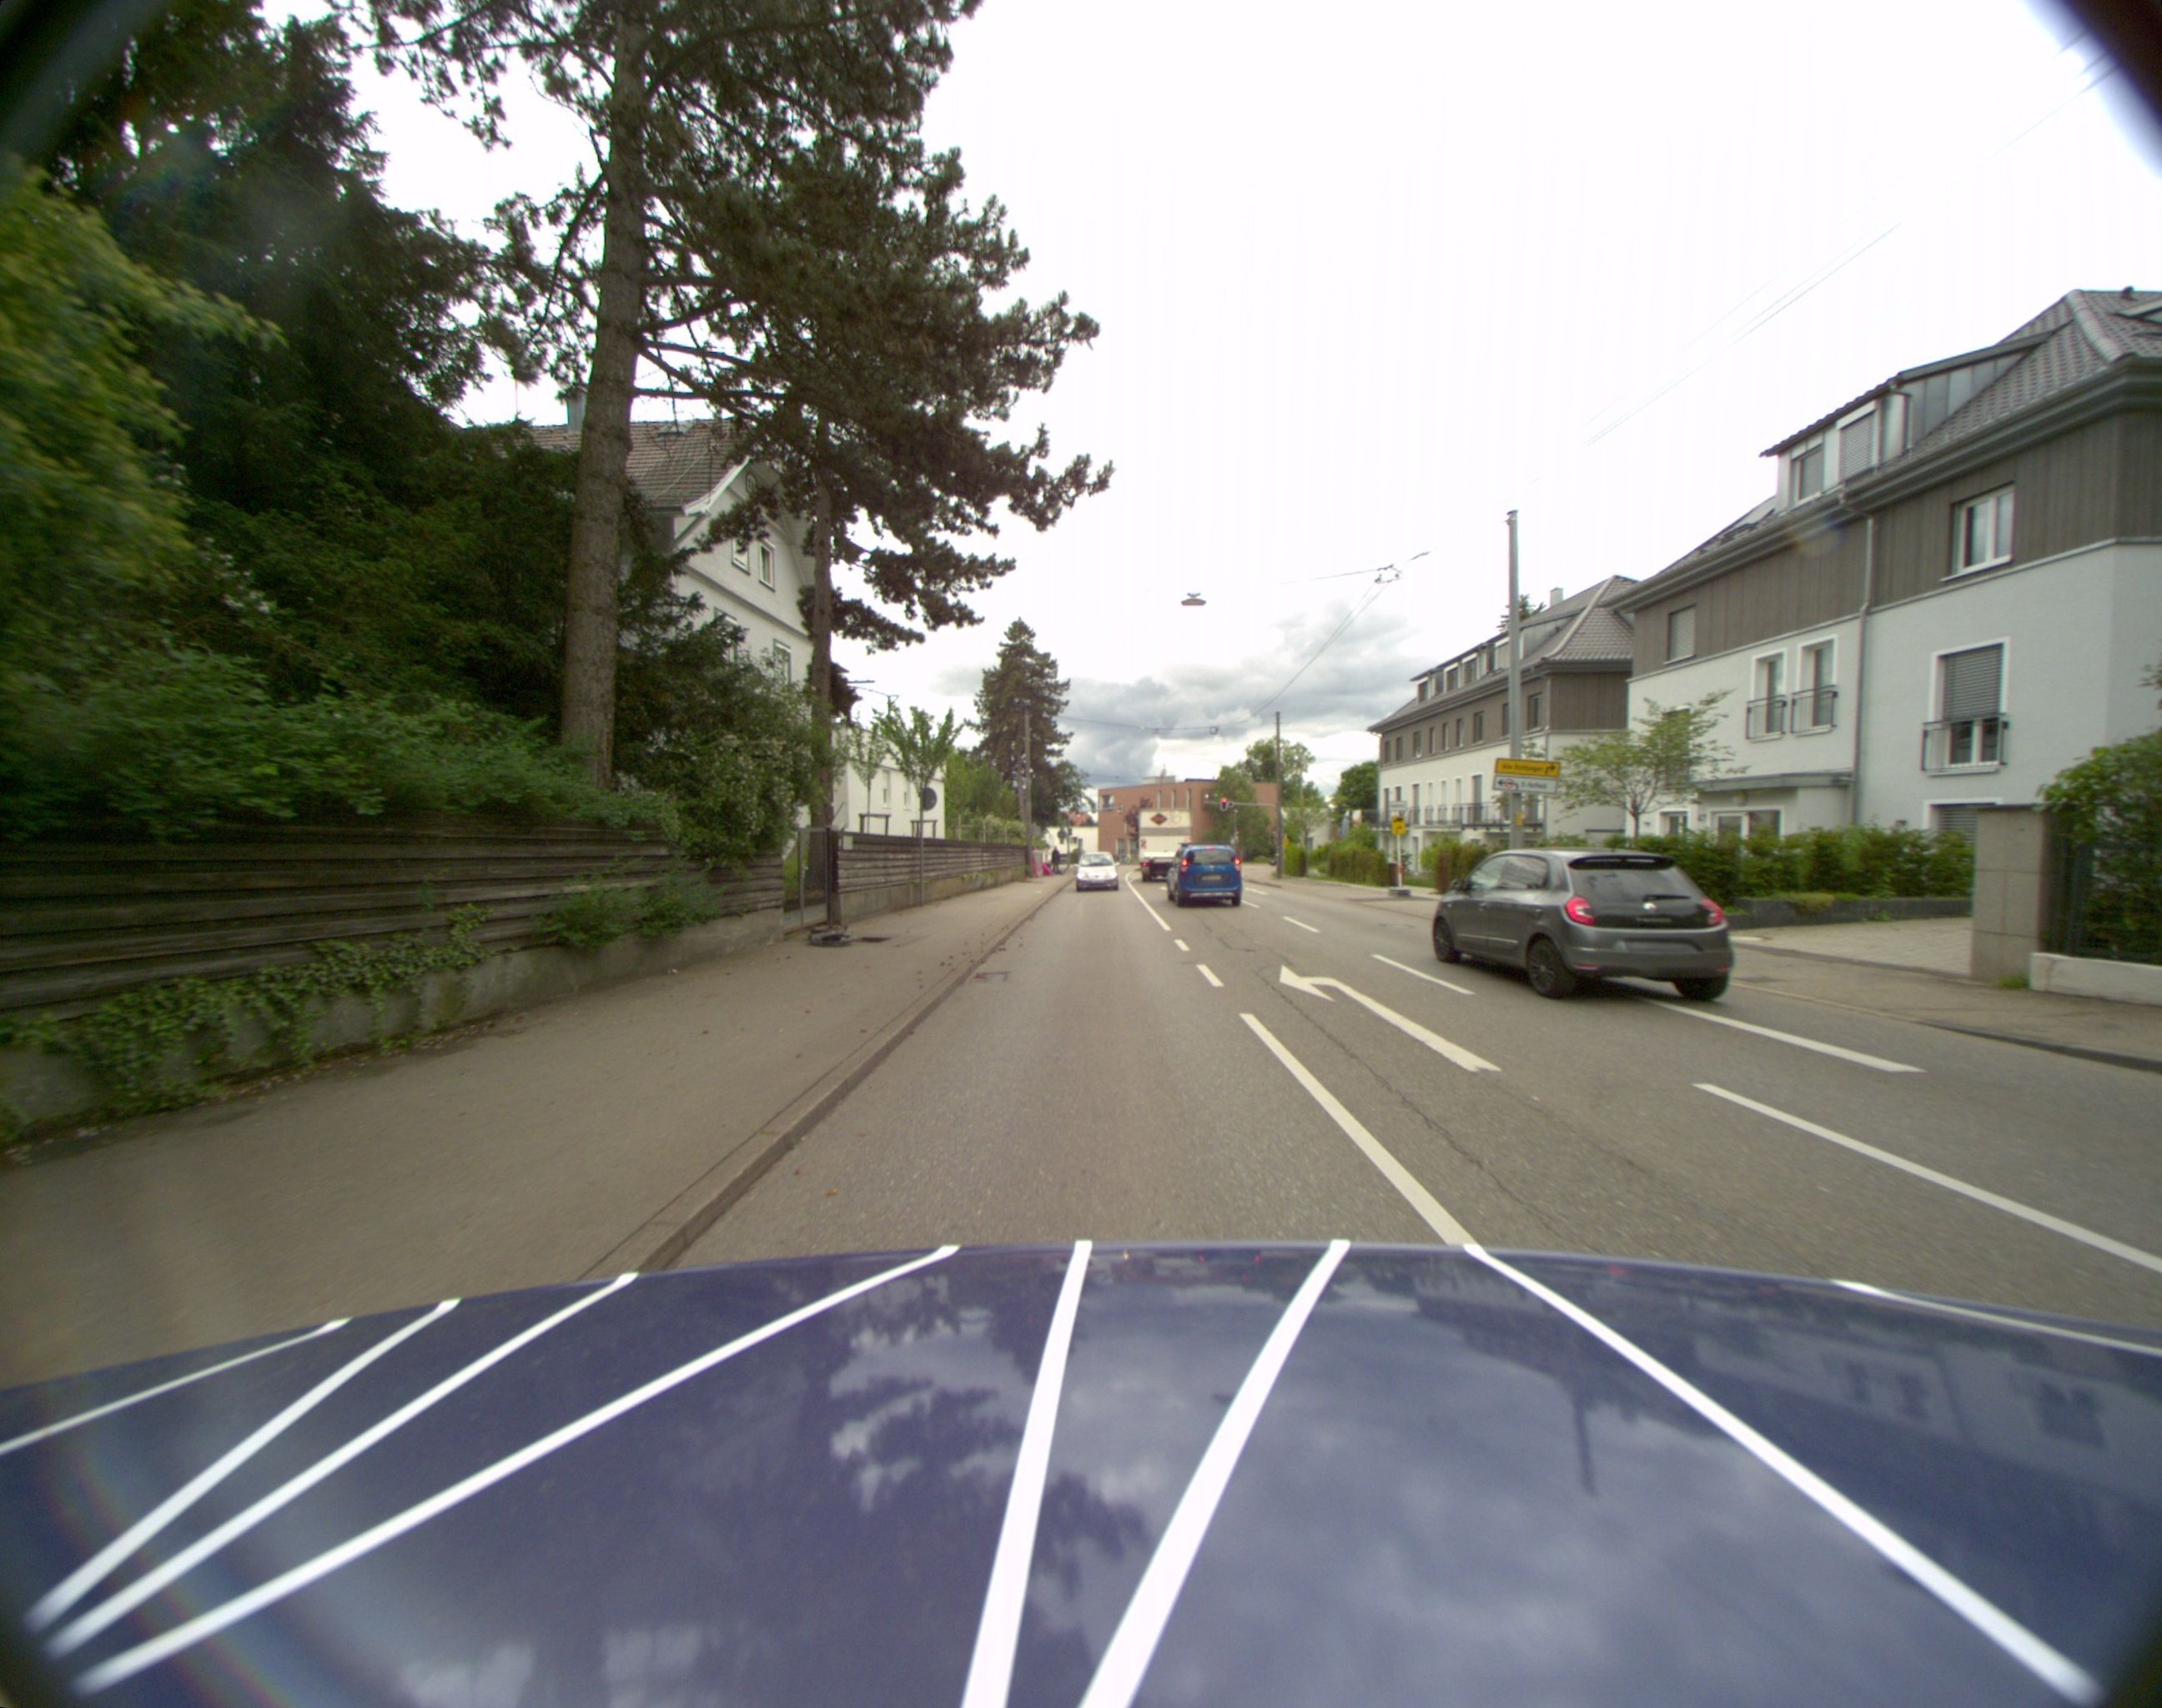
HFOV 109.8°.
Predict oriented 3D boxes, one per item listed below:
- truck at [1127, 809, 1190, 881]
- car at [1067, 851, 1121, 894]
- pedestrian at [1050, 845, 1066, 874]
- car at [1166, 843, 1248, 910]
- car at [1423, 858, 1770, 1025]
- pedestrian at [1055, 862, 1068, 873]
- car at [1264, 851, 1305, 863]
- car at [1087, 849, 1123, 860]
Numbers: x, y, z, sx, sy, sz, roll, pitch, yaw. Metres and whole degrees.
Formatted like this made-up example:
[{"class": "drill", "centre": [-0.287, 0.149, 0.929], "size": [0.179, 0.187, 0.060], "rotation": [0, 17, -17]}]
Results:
[{"class": "truck", "centre": [3.940, -0.496, 40.123], "size": [2.784, 3.441, 7.492], "rotation": [0, 1, 2]}, {"class": "car", "centre": [0.559, 0.690, 30.647], "size": [1.998, 1.586, 4.000], "rotation": [-1, 0, 2]}, {"class": "pedestrian", "centre": [-1.562, 0.371, 51.238], "size": [0.849, 1.912, 0.800], "rotation": [-1, 1, -18]}, {"class": "car", "centre": [3.484, 0.592, 21.742], "size": [1.810, 1.707, 4.379], "rotation": [-1, 0, 3]}, {"class": "car", "centre": [5.469, 0.806, 8.667], "size": [1.688, 1.510, 3.536], "rotation": [0, 0, 3]}, {"class": "pedestrian", "centre": [-1.279, 0.875, 50.111], "size": [0.648, 0.692, 0.583], "rotation": [-1, 1, -40]}, {"class": "car", "centre": [22.731, 0.334, 84.941], "size": [4.003, 1.237, 1.996], "rotation": [-1, 2, -20]}, {"class": "car", "centre": [3.299, 0.052, 104.761], "size": [4.442, 1.549, 1.996], "rotation": [0, 0, -23]}]
